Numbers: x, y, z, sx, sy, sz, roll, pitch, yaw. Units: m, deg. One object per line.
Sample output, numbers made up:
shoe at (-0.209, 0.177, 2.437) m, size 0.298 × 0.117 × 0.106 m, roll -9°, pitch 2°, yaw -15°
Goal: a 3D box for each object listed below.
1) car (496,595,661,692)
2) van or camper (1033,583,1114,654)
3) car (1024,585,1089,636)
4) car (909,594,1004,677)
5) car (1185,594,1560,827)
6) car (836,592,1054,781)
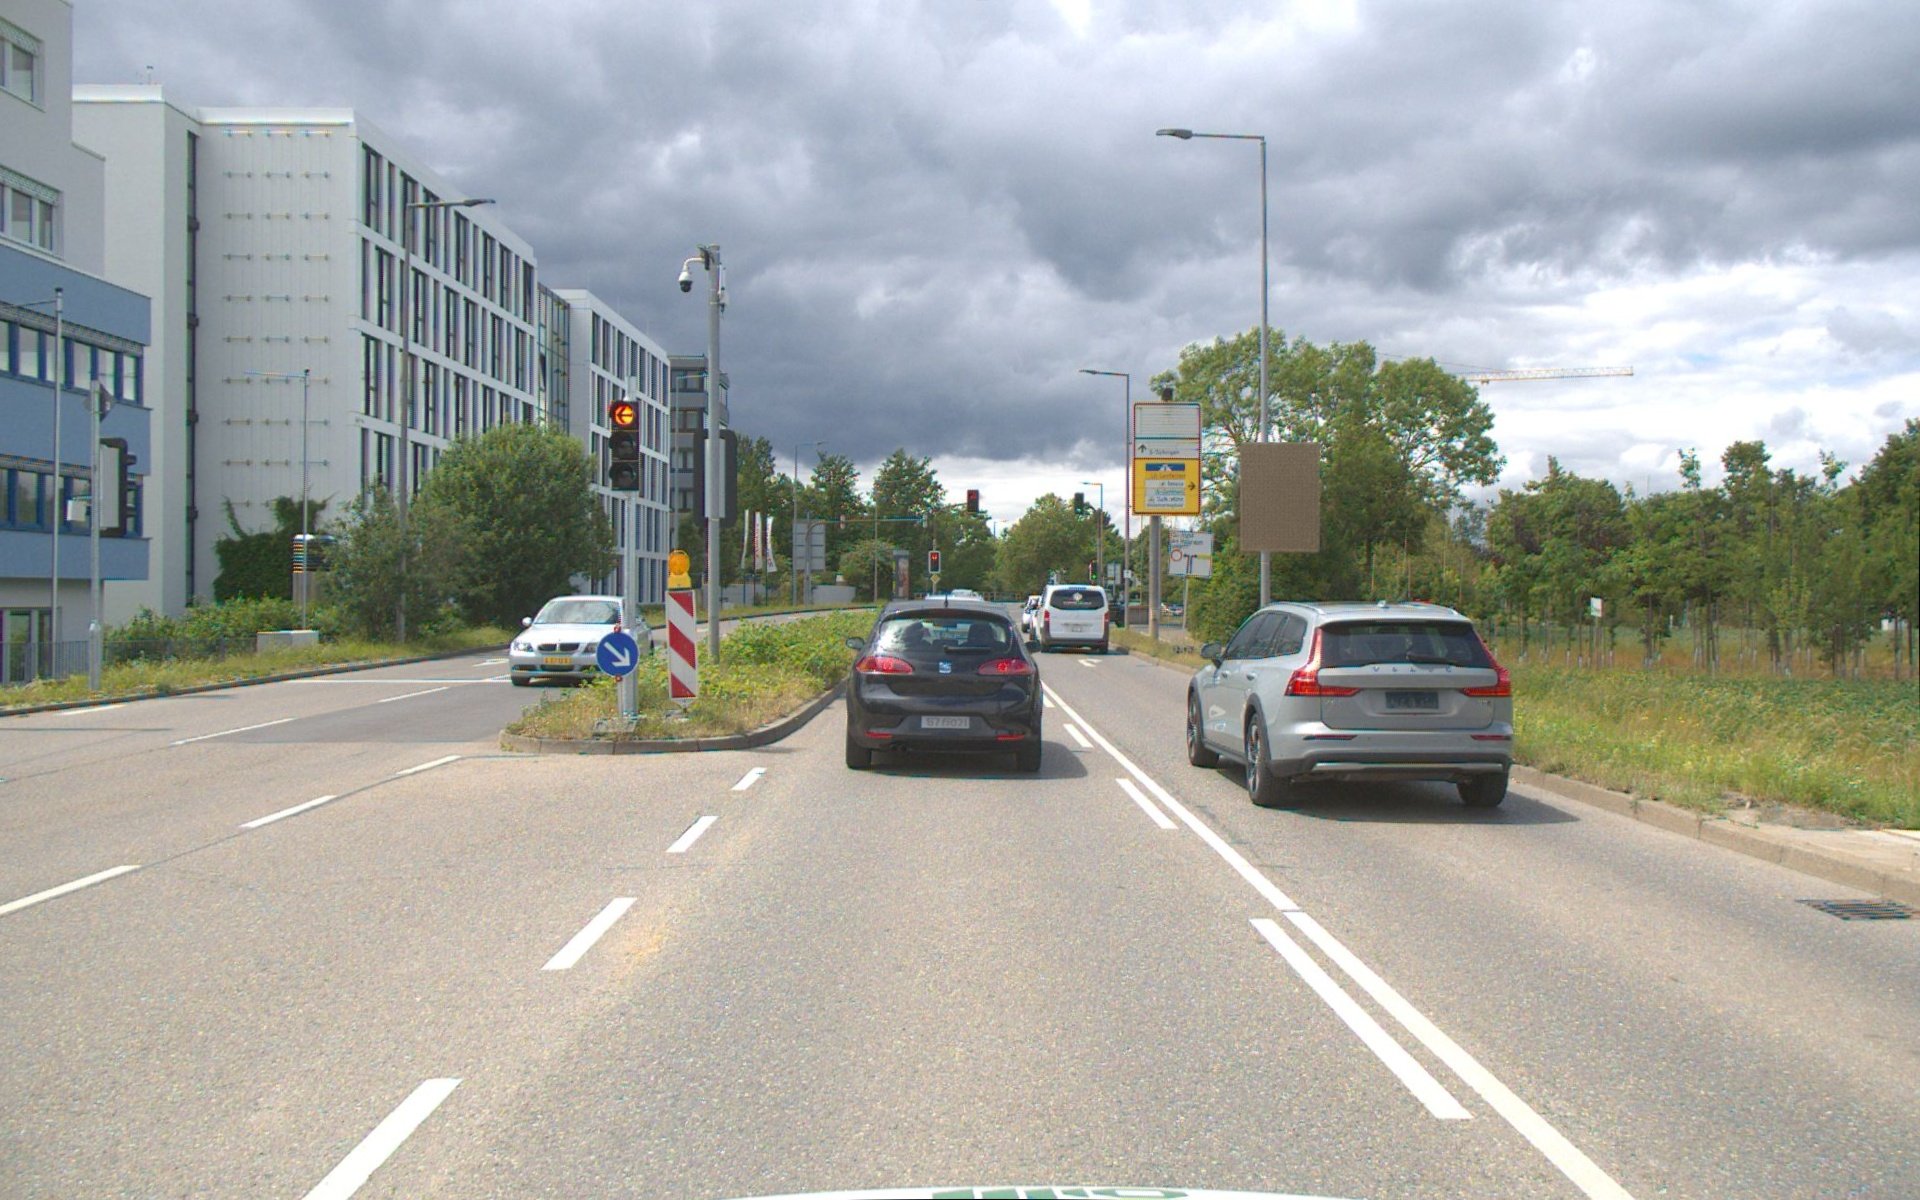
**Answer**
car at (-6.214, 0.656, 27.399) m, size 1.755 × 1.473 × 4.421 m, roll 0°, pitch 0°, yaw -1°
van or camper at (3.151, 0.491, 46.771) m, size 1.952 × 1.892 × 4.943 m, roll 1°, pitch 0°, yaw 0°
car at (3.243, 0.357, 56.418) m, size 1.953 × 1.660 × 3.999 m, roll 0°, pitch 0°, yaw -1°
car at (-0.077, 0.644, 32.101) m, size 1.737 × 1.517 × 3.582 m, roll 0°, pitch 0°, yaw 0°
car at (3.068, 0.727, 13.300) m, size 1.825 × 1.545 × 4.445 m, roll 0°, pitch 0°, yaw -1°
car at (-0.066, 0.693, 15.263) m, size 1.736 × 1.477 × 3.583 m, roll 2°, pitch 0°, yaw 2°
